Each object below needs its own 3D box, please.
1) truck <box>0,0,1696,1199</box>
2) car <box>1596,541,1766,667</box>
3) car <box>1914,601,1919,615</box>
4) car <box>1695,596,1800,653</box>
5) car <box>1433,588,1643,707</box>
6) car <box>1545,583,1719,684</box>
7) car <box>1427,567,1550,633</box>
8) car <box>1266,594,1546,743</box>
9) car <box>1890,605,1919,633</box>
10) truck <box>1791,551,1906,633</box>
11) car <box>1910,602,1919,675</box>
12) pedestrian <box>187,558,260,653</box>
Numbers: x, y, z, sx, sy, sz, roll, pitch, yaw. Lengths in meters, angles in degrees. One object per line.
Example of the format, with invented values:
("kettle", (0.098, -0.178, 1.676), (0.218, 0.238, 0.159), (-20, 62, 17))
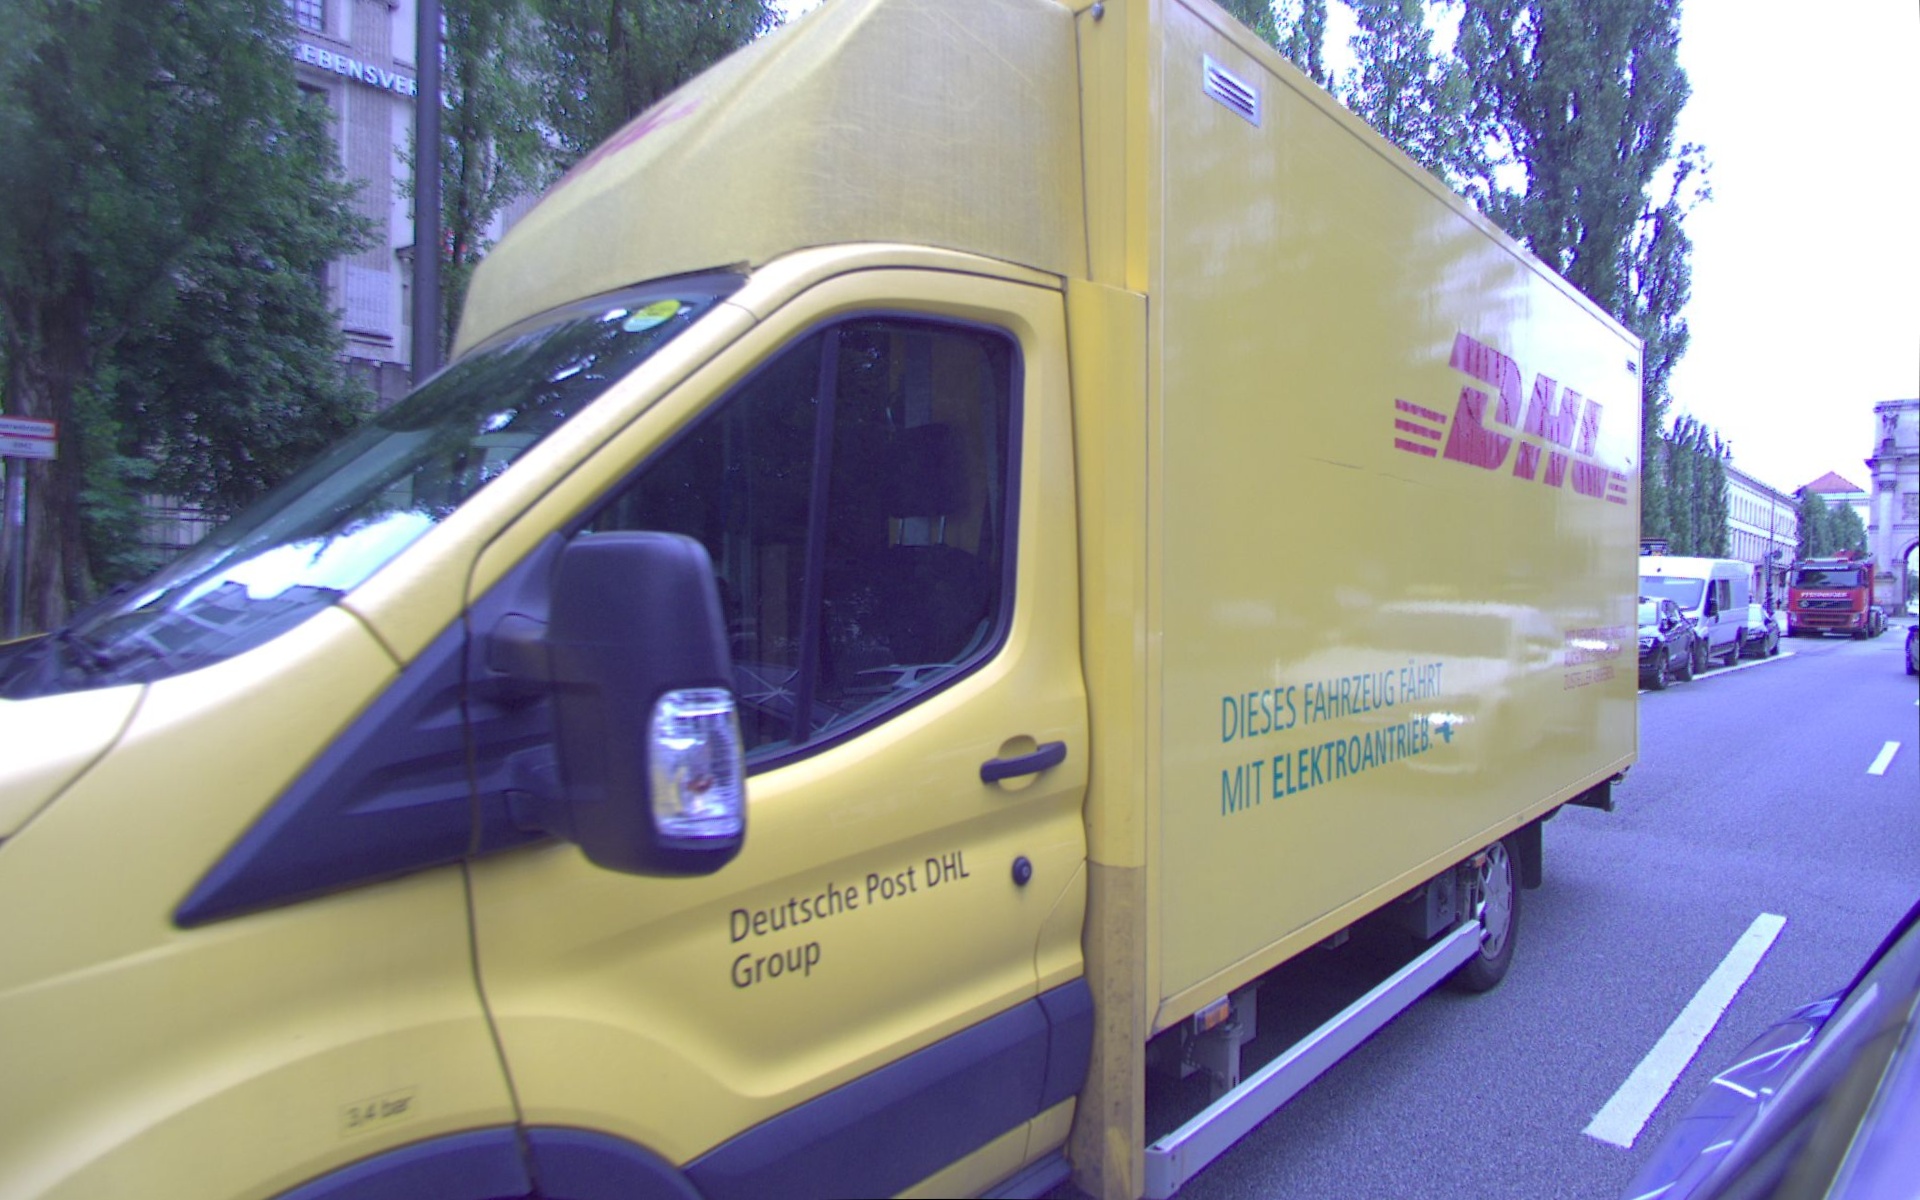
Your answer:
("truck", (0.536, -0.065, 3.731), (7.212, 2.934, 2.329), (0, 1, -45))
("car", (16.595, 0.074, 23.131), (6.179, 2.510, 2.076), (0, 1, -44))
("car", (118.624, 1.019, 123.500), (4.232, 1.771, 1.791), (1, 1, -28))
("car", (21.800, 0.644, 27.964), (3.934, 1.468, 1.755), (0, -1, -44))
("car", (8.643, 0.600, 14.993), (4.046, 1.522, 1.652), (0, 1, -44))
("car", (12.379, 0.533, 18.535), (4.153, 1.610, 1.822), (0, 1, -44))
("car", (17.432, -0.020, 33.266), (4.997, 1.970, 1.996), (0, 2, -43))
("car", (5.401, 0.673, 11.985), (4.080, 1.464, 1.634), (0, 0, -44))
("car", (60.678, 1.178, 64.509), (3.935, 1.649, 1.805), (0, 2, -45))
("truck", (38.405, -0.351, 43.579), (10.251, 3.148, 2.717), (0, 2, -44))
("car", (20.079, 0.724, 19.907), (1.918, 1.344, 4.340), (0, 0, 45))
("pedestrian", (-9.377, 0.060, 12.882), (0.713, 1.156, 0.703), (1, 1, -38))
